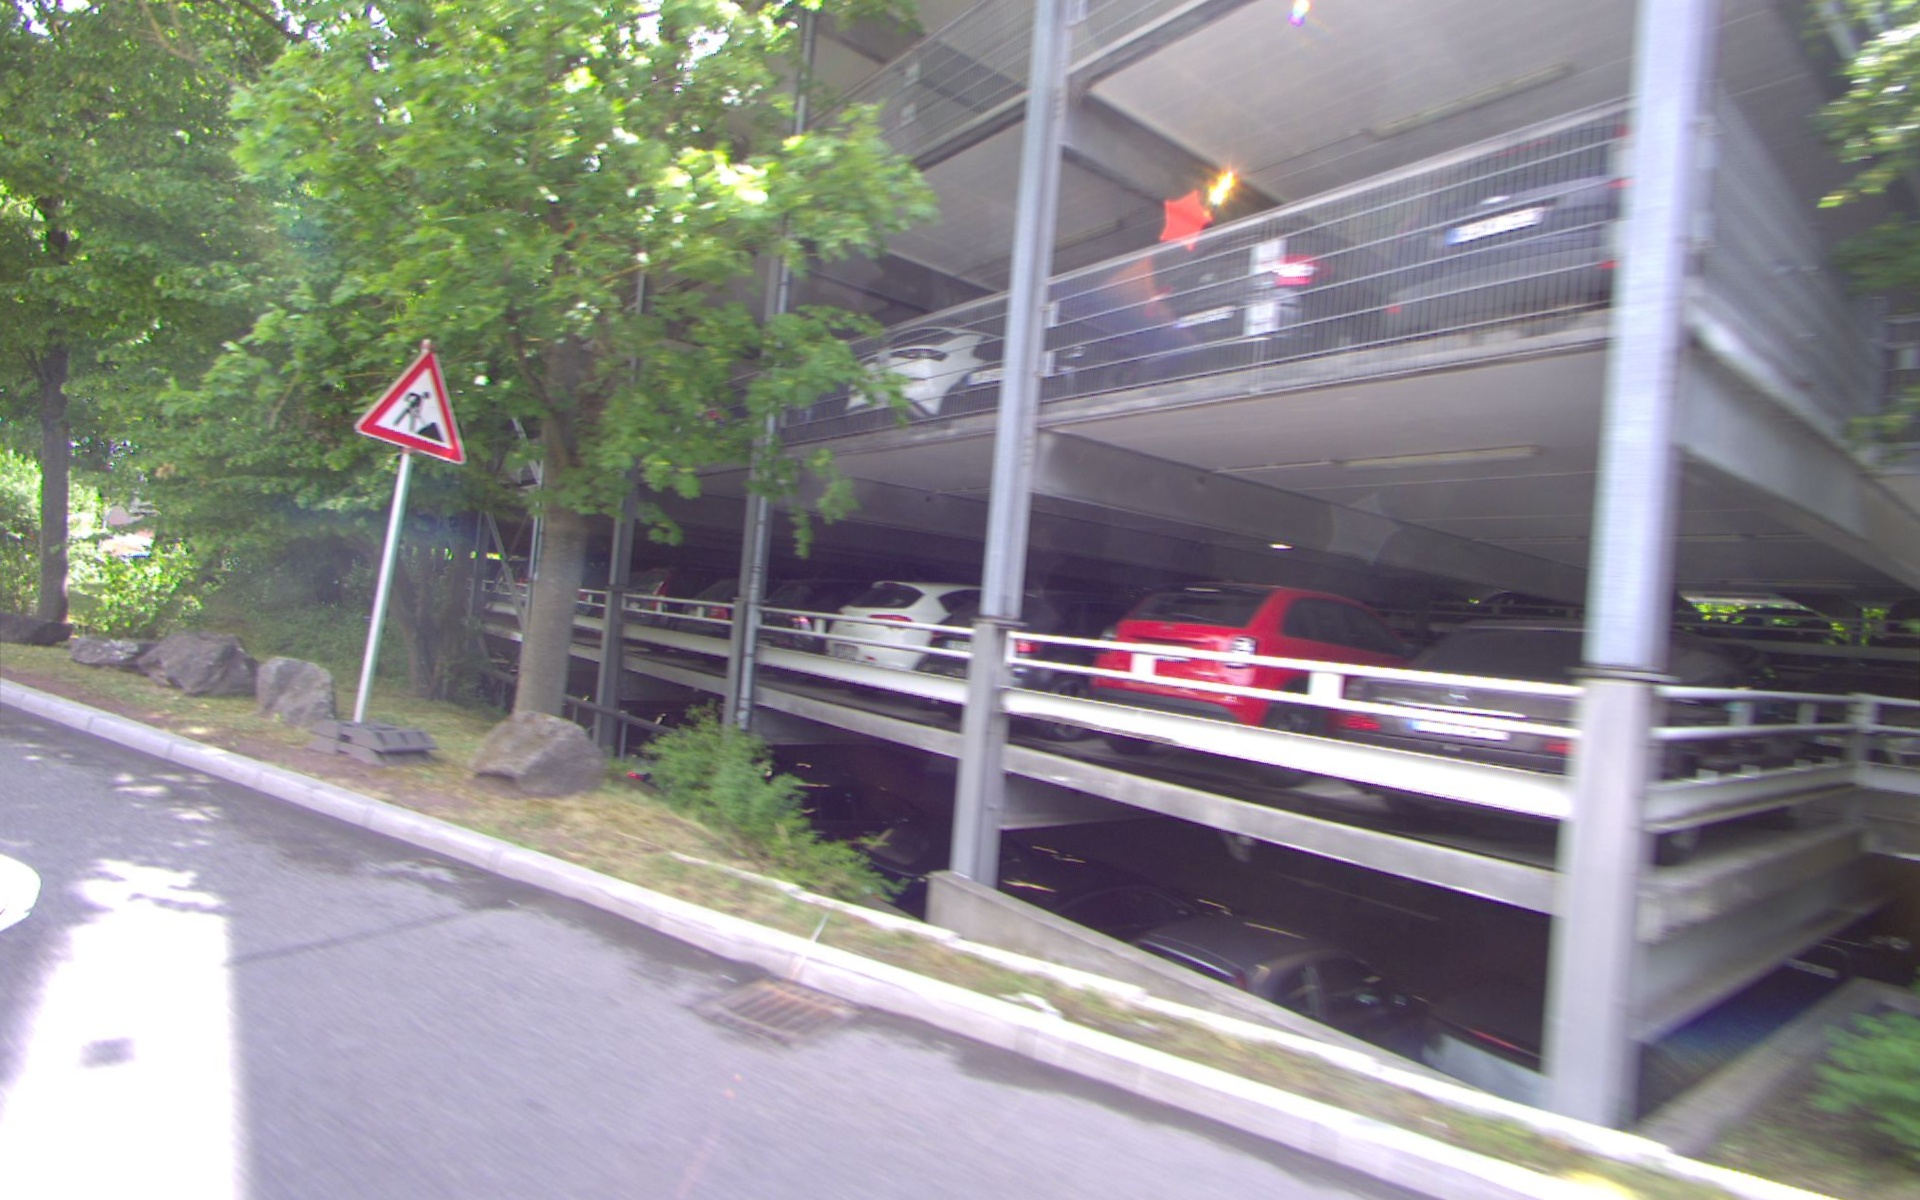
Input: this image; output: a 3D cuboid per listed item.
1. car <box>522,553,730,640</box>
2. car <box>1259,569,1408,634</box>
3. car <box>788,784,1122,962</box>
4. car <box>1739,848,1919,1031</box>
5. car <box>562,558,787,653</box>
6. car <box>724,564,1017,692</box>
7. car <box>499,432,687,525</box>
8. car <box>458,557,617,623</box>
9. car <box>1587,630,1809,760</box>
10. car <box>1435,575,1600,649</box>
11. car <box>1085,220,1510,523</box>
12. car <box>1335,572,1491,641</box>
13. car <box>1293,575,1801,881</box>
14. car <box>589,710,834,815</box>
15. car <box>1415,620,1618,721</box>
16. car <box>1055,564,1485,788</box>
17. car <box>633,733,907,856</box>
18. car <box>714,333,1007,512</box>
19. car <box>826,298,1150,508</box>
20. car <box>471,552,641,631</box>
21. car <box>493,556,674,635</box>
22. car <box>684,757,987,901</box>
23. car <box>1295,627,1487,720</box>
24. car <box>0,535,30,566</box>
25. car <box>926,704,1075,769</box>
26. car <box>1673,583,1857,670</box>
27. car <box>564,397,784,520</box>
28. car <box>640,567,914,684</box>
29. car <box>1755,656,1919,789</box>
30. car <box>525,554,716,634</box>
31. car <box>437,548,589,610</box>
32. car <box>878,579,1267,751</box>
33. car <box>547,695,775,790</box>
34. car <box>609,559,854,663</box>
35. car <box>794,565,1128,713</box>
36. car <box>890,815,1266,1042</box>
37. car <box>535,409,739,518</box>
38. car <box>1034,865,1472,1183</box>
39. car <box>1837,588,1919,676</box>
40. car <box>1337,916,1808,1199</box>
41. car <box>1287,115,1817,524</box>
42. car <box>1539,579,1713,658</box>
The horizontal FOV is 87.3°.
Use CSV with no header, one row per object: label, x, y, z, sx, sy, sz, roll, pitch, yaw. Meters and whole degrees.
car,-7.106,-0.055,21.576,3.826,1.409,1.678,7,-1,-38
car,9.657,0.048,25.951,3.677,1.342,1.816,5,0,-37
car,0.031,3.257,12.637,3.829,1.470,1.817,7,-1,-40
car,12.277,4.438,13.663,3.824,1.442,1.735,5,0,-38
car,-5.556,0.130,19.791,3.826,1.409,1.678,7,-1,-38
car,-1.206,0.443,14.483,3.826,1.409,1.678,7,-1,-38
car,-8.444,-2.740,23.279,3.672,1.449,1.642,7,1,-38
car,-12.070,-0.271,28.830,3.826,1.409,1.678,7,-1,-38
car,11.533,1.462,15.647,3.824,1.666,1.735,5,0,-38
car,12.530,0.286,22.552,3.677,1.342,1.816,5,0,-37
car,3.062,-1.755,8.848,3.672,1.582,1.642,7,1,-38
car,11.014,0.161,24.413,3.677,1.342,1.816,5,0,-37
car,4.019,0.786,6.661,3.675,1.428,1.642,7,-1,-39
car,-4.460,2.907,18.324,3.829,1.470,1.817,7,-1,-40
car,9.928,1.275,17.863,3.824,1.504,1.735,5,0,-38
car,2.888,0.695,8.988,3.829,1.532,1.816,7,-1,-41
car,-2.978,3.029,16.128,3.829,1.470,1.817,7,-1,-40
car,-1.334,-2.351,14.189,3.672,1.640,1.642,7,1,-38
car,0.421,-2.271,12.507,3.672,1.662,1.642,7,1,-38
car,-10.826,-0.213,27.069,3.826,1.645,1.678,7,-1,-38
car,-9.365,-0.099,25.162,3.826,1.507,1.678,7,-1,-38
car,-1.698,3.134,14.379,3.829,1.470,1.817,7,-1,-40
car,8.310,1.437,19.288,3.824,1.504,1.678,5,0,-38
car,-62.548,-3.463,63.781,1.886,1.707,4.963,5,-5,43
car,1.150,3.718,27.633,3.824,1.465,1.678,5,0,-38
car,15.420,0.526,19.228,3.677,1.342,1.816,5,0,-37
car,-5.528,-2.659,19.613,3.672,1.640,1.642,7,1,-38
car,-2.809,0.429,15.825,3.826,1.409,1.678,7,-1,-38
car,12.674,1.660,13.909,3.824,1.461,1.735,5,0,-38
car,-7.921,-0.110,23.640,3.826,1.409,1.678,7,-1,-38
car,-13.488,-0.619,30.454,3.826,1.409,1.758,7,-1,-38
car,1.275,0.724,10.612,3.826,1.409,1.795,7,-1,-38
car,-5.841,2.792,19.848,3.829,1.470,1.817,7,-1,-40
car,-4.004,0.227,17.928,3.826,1.409,1.678,7,-1,-38
car,0.102,0.527,12.445,3.826,1.409,1.678,7,-1,-38
car,1.374,3.326,10.852,3.829,1.470,1.817,7,-1,-40
car,-6.830,-2.815,21.401,3.672,1.582,1.642,7,1,-38
car,2.705,3.436,8.888,3.829,1.470,1.817,7,-1,-40
car,16.832,0.642,17.305,3.677,1.342,1.816,5,0,-37
car,4.653,3.534,7.446,3.707,1.470,1.817,7,-1,-40
car,4.029,-1.504,6.646,3.672,1.429,1.642,7,1,-38
car,13.900,0.400,20.953,3.677,1.342,1.816,5,0,-37
